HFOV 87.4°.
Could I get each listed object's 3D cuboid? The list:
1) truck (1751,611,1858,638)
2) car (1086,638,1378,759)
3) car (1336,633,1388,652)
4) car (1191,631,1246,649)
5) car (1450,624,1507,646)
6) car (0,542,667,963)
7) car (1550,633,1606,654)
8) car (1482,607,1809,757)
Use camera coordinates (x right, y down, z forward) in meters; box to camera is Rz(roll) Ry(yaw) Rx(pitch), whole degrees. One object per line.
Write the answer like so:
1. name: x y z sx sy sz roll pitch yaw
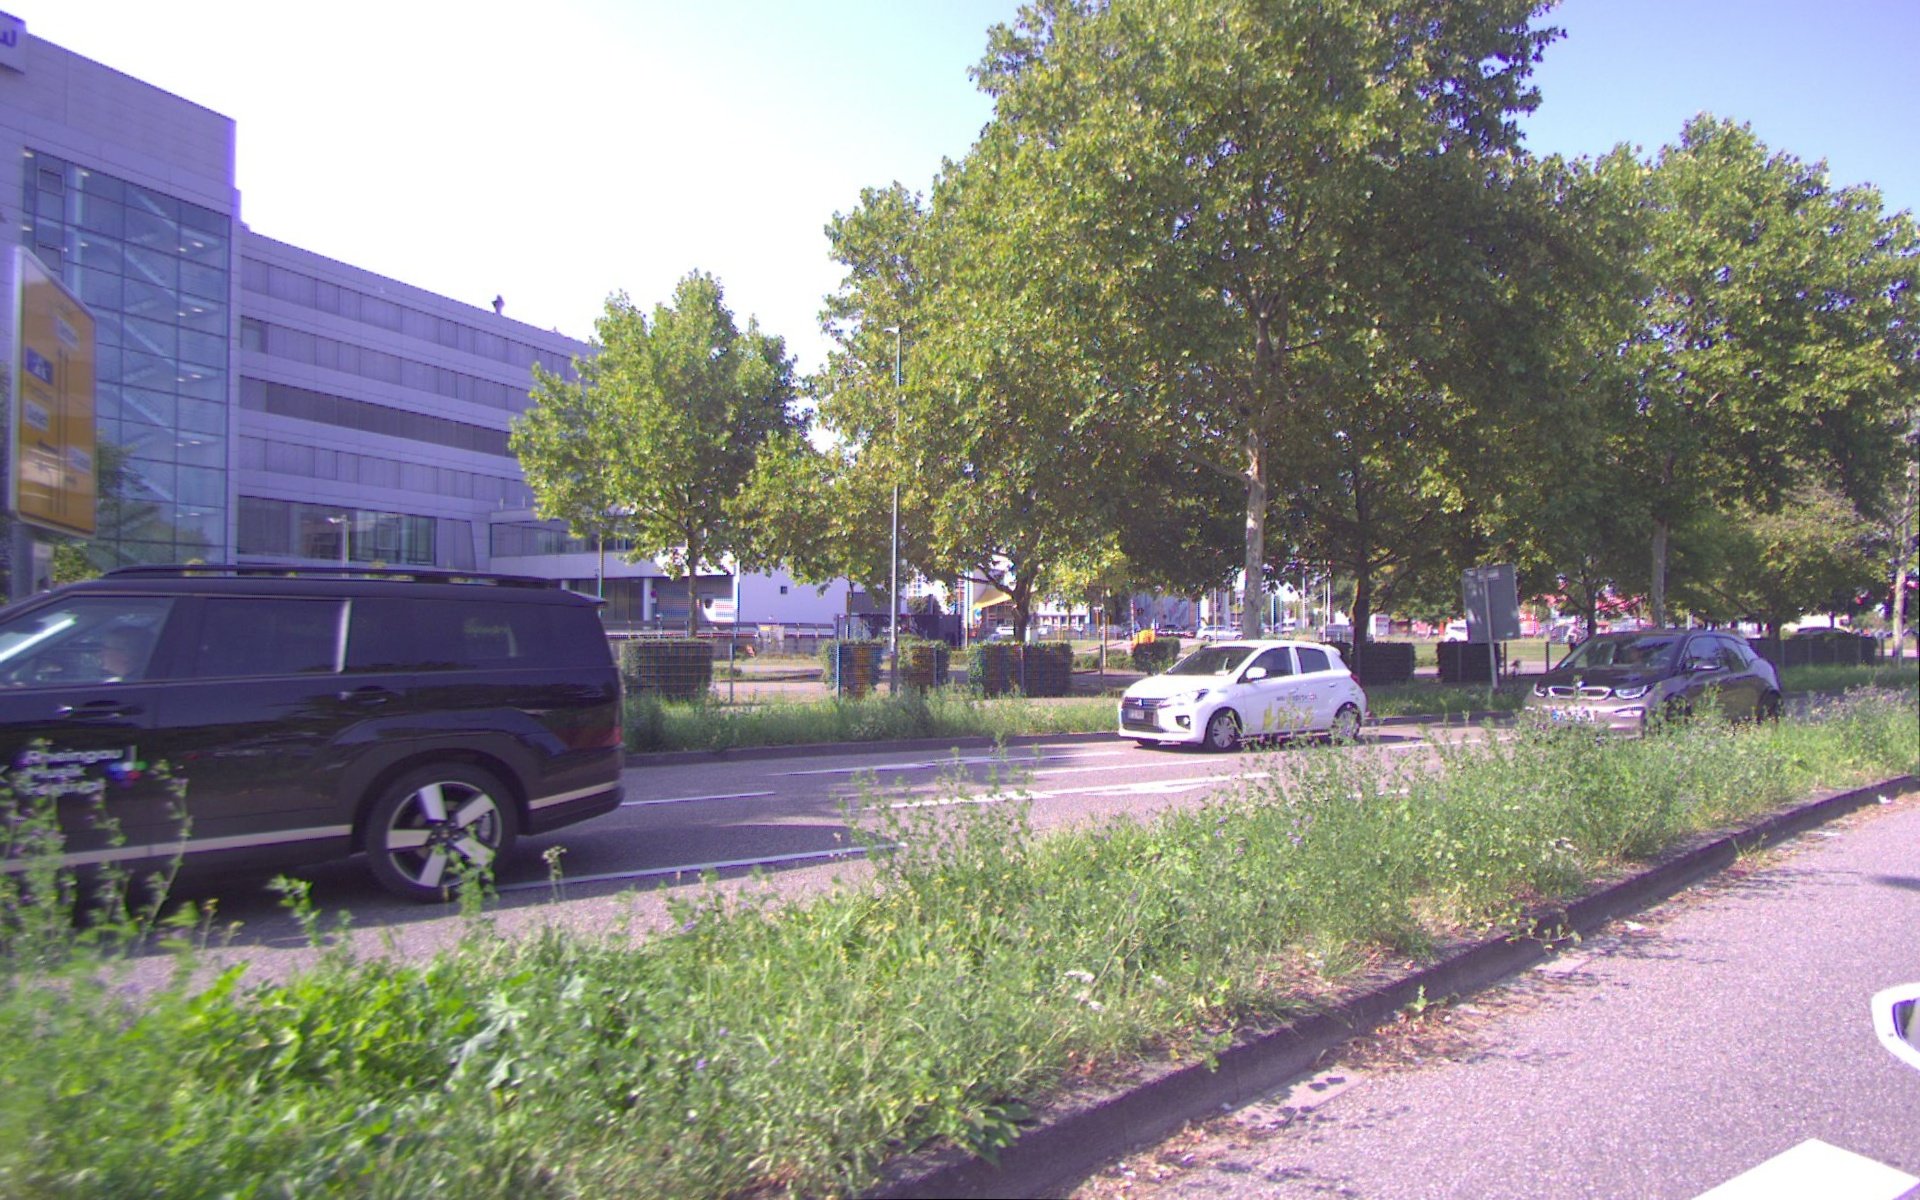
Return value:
1. truck: 98.311 2.874 117.129 8.846 2.996 3.511 -1 -2 26
2. car: 3.912 1.305 14.325 3.953 1.501 1.782 1 -2 -30
3. car: 33.660 3.545 84.083 3.926 1.565 1.838 -1 -2 27
4. car: 22.835 3.526 88.596 4.501 1.565 1.870 -1 -2 23
5. car: 41.176 2.757 79.788 3.924 1.701 1.869 0 -1 25
6. car: -4.071 0.714 5.445 4.427 1.782 1.984 2 -4 -32
7. car: 47.172 3.313 76.752 3.426 1.601 1.725 -1 -2 26
8. car: 9.488 1.086 13.878 4.254 1.782 1.986 1 -4 -29
